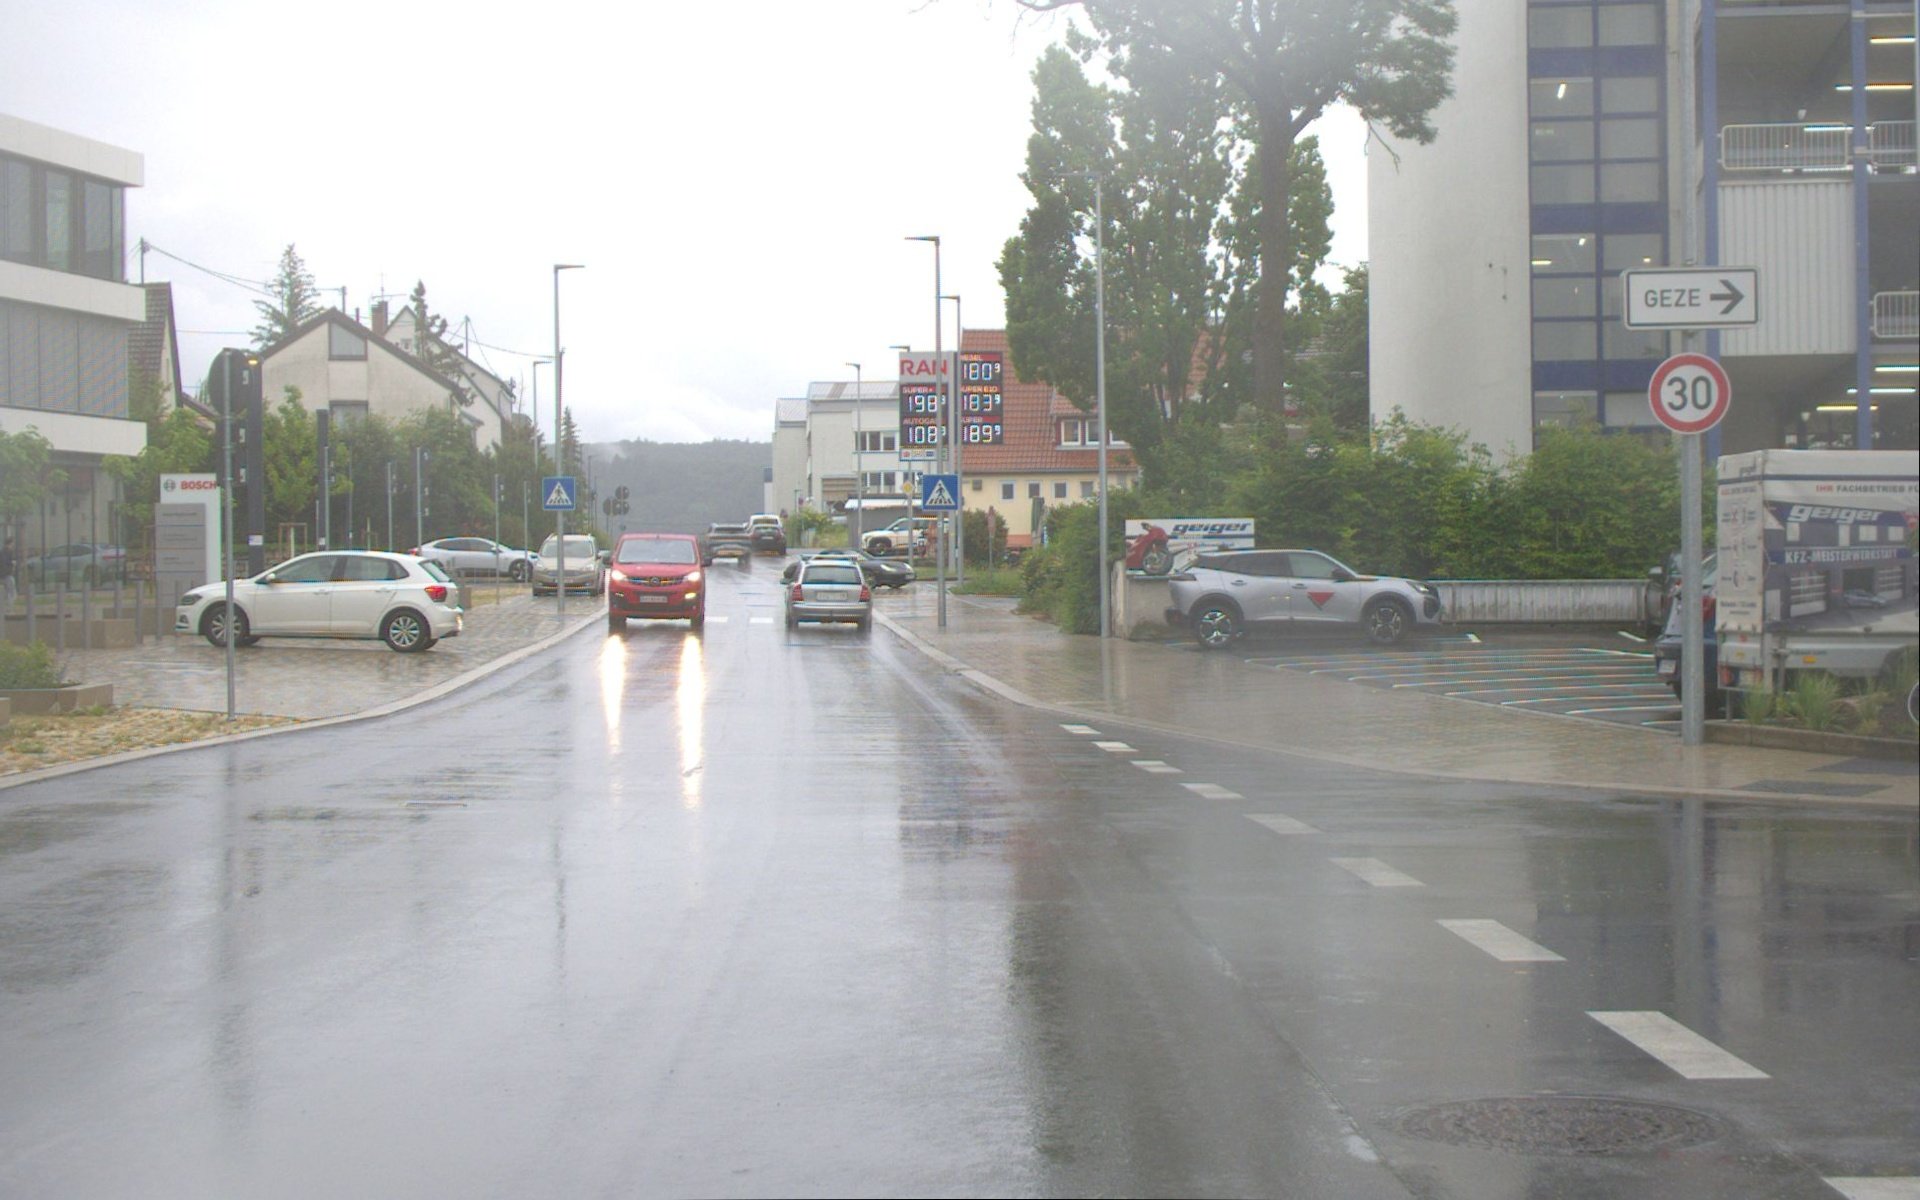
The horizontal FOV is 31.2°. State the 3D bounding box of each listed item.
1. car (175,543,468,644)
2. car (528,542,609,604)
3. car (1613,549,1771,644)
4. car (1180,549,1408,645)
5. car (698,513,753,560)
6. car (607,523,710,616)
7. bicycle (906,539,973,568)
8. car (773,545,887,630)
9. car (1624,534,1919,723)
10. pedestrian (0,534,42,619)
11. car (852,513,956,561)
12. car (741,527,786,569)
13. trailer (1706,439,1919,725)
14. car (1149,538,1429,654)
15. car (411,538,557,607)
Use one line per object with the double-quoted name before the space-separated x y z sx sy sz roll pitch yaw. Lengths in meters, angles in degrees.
"car" -9.164 -0.104 49.575 3.927 1.418 1.898 0 1 -2
"car" -10.728 -0.766 94.348 1.993 1.623 4.154 0 1 -4
"car" 11.530 -0.083 54.390 1.933 1.437 4.206 0 1 5
"car" 5.432 -0.057 55.954 3.622 1.489 1.806 -1 1 6
"car" -9.795 -2.654 143.625 2.154 1.700 4.000 4 -1 -4
"car" -6.122 -0.631 70.110 2.002 1.811 4.980 0 1 -4
"bicycle" -0.837 -1.875 138.209 0.668 1.063 3.628 4 -1 -35
"car" -2.671 -0.221 69.797 1.948 1.550 4.001 4 -1 -6
"car" 7.739 0.224 29.398 3.725 1.524 1.650 -1 0 -3
"pedestrian" -19.376 -0.486 70.342 1.013 1.718 0.772 1 1 -6
"car" -2.356 -2.664 144.742 4.111 1.700 1.789 4 -1 -6
"car" -9.167 -2.405 160.192 1.993 1.700 4.000 4 -1 -4
"trailer" 7.353 -0.143 26.818 2.701 2.164 1.548 0 1 -1
"car" 5.108 -0.067 53.307 4.208 1.644 2.000 -2 0 7
"car" -16.132 -0.918 116.784 4.752 2.007 2.000 4 -1 -7
